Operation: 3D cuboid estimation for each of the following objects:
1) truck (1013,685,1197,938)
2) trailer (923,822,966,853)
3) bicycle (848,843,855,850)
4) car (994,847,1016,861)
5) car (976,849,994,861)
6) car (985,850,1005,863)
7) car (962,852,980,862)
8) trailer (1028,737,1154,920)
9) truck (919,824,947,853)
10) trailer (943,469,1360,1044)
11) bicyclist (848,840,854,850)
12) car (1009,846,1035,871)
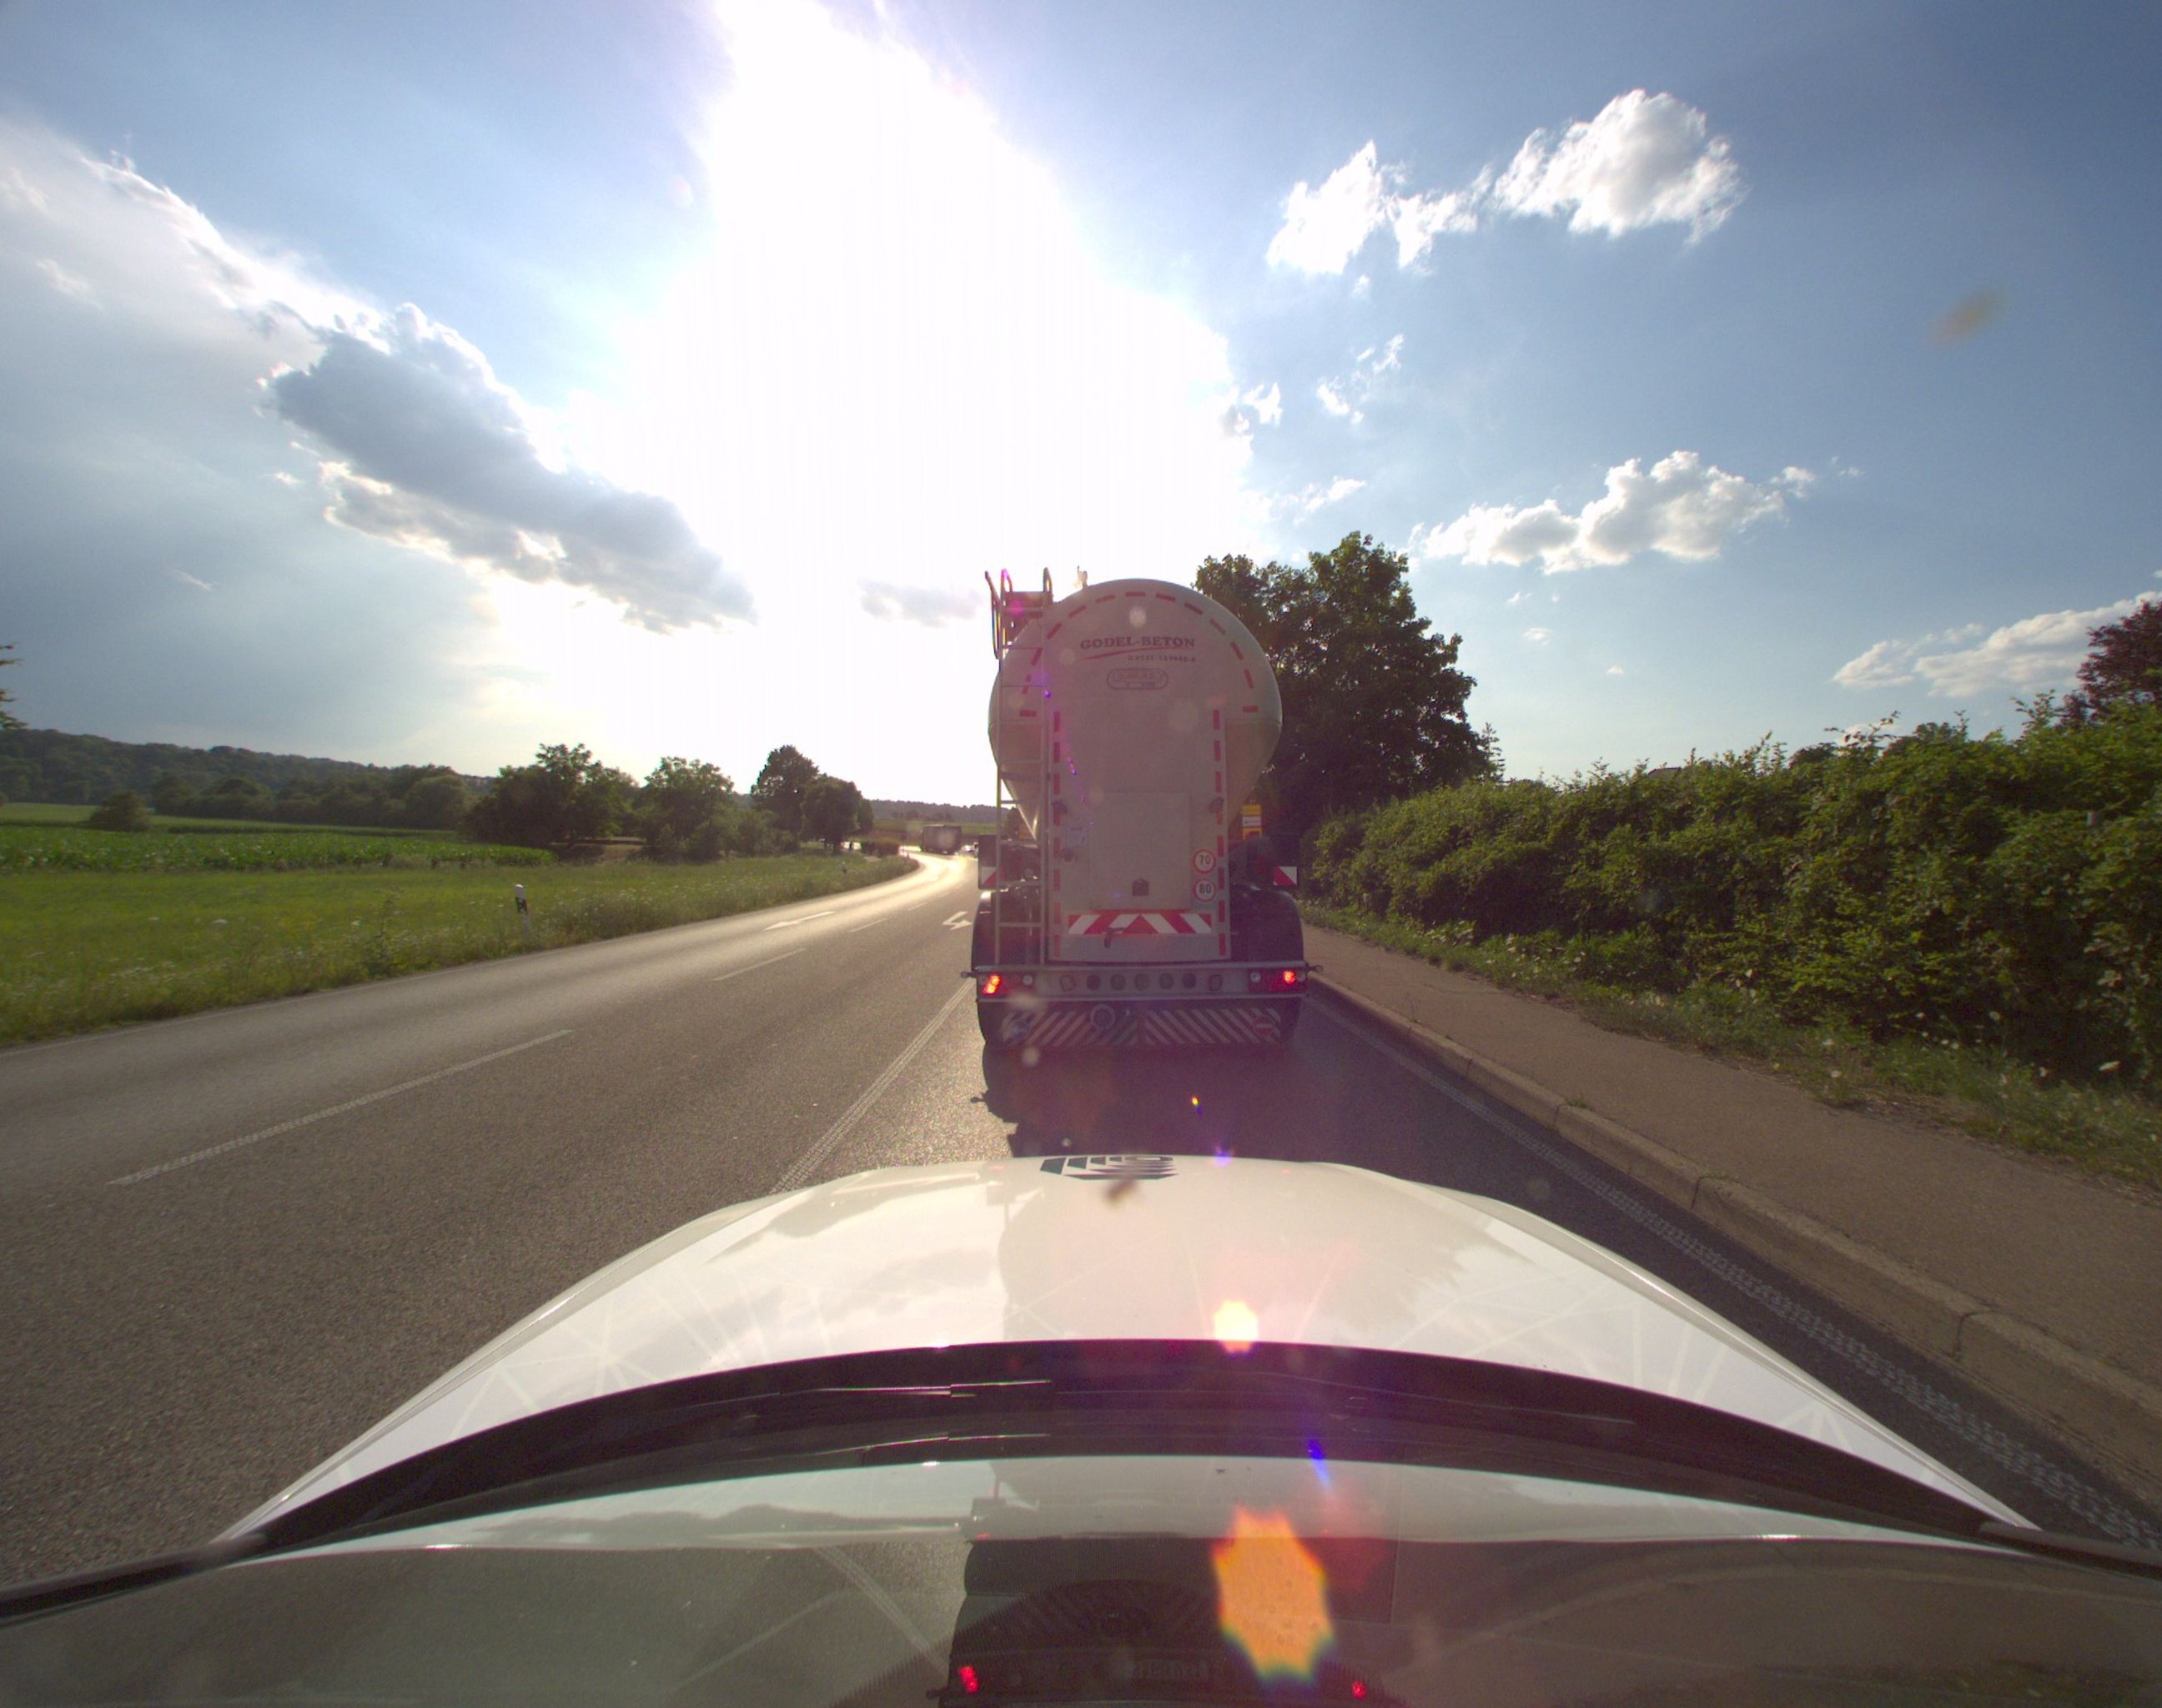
[{"bbox_3d":[0.343,-0.689,14.997,2.902,4.006,4.057,0,0,-2],"label":"truck"},{"bbox_3d":[-20.312,-2.343,120.290,3.388,4.350,14.192,1,0,-21],"label":"trailer"},{"bbox_3d":[-32.392,-1.062,114.874,0.634,1.074,1.667,2,0,-6],"label":"bicycle"},{"bbox_3d":[-7.639,0.016,81.875,1.583,1.341,3.407,1,0,-16],"label":"car"},{"bbox_3d":[-11.378,0.137,96.342,1.583,1.341,3.407,1,0,-16],"label":"car"},{"bbox_3d":[-9.306,0.284,88.098,1.583,1.341,3.407,1,0,-16],"label":"car"},{"bbox_3d":[-13.897,0.339,102.576,1.773,1.206,3.407,1,0,-16],"label":"car"},{"bbox_3d":[0.494,-0.637,26.483,2.943,4.315,14.182,1,0,2],"label":"trailer"},{"bbox_3d":[-23.316,-2.400,128.068,3.388,4.350,5.665,1,0,-21],"label":"truck"},{"bbox_3d":[0.429,-0.689,10.677,2.901,4.006,9.925,0,0,-1],"label":"trailer"},{"bbox_3d":[-32.376,-1.273,114.811,0.634,1.419,0.689,2,0,-7],"label":"bicyclist"},{"bbox_3d":[-4.954,0.384,67.517,1.861,2.013,3.708,0,0,-9],"label":"car"}]
